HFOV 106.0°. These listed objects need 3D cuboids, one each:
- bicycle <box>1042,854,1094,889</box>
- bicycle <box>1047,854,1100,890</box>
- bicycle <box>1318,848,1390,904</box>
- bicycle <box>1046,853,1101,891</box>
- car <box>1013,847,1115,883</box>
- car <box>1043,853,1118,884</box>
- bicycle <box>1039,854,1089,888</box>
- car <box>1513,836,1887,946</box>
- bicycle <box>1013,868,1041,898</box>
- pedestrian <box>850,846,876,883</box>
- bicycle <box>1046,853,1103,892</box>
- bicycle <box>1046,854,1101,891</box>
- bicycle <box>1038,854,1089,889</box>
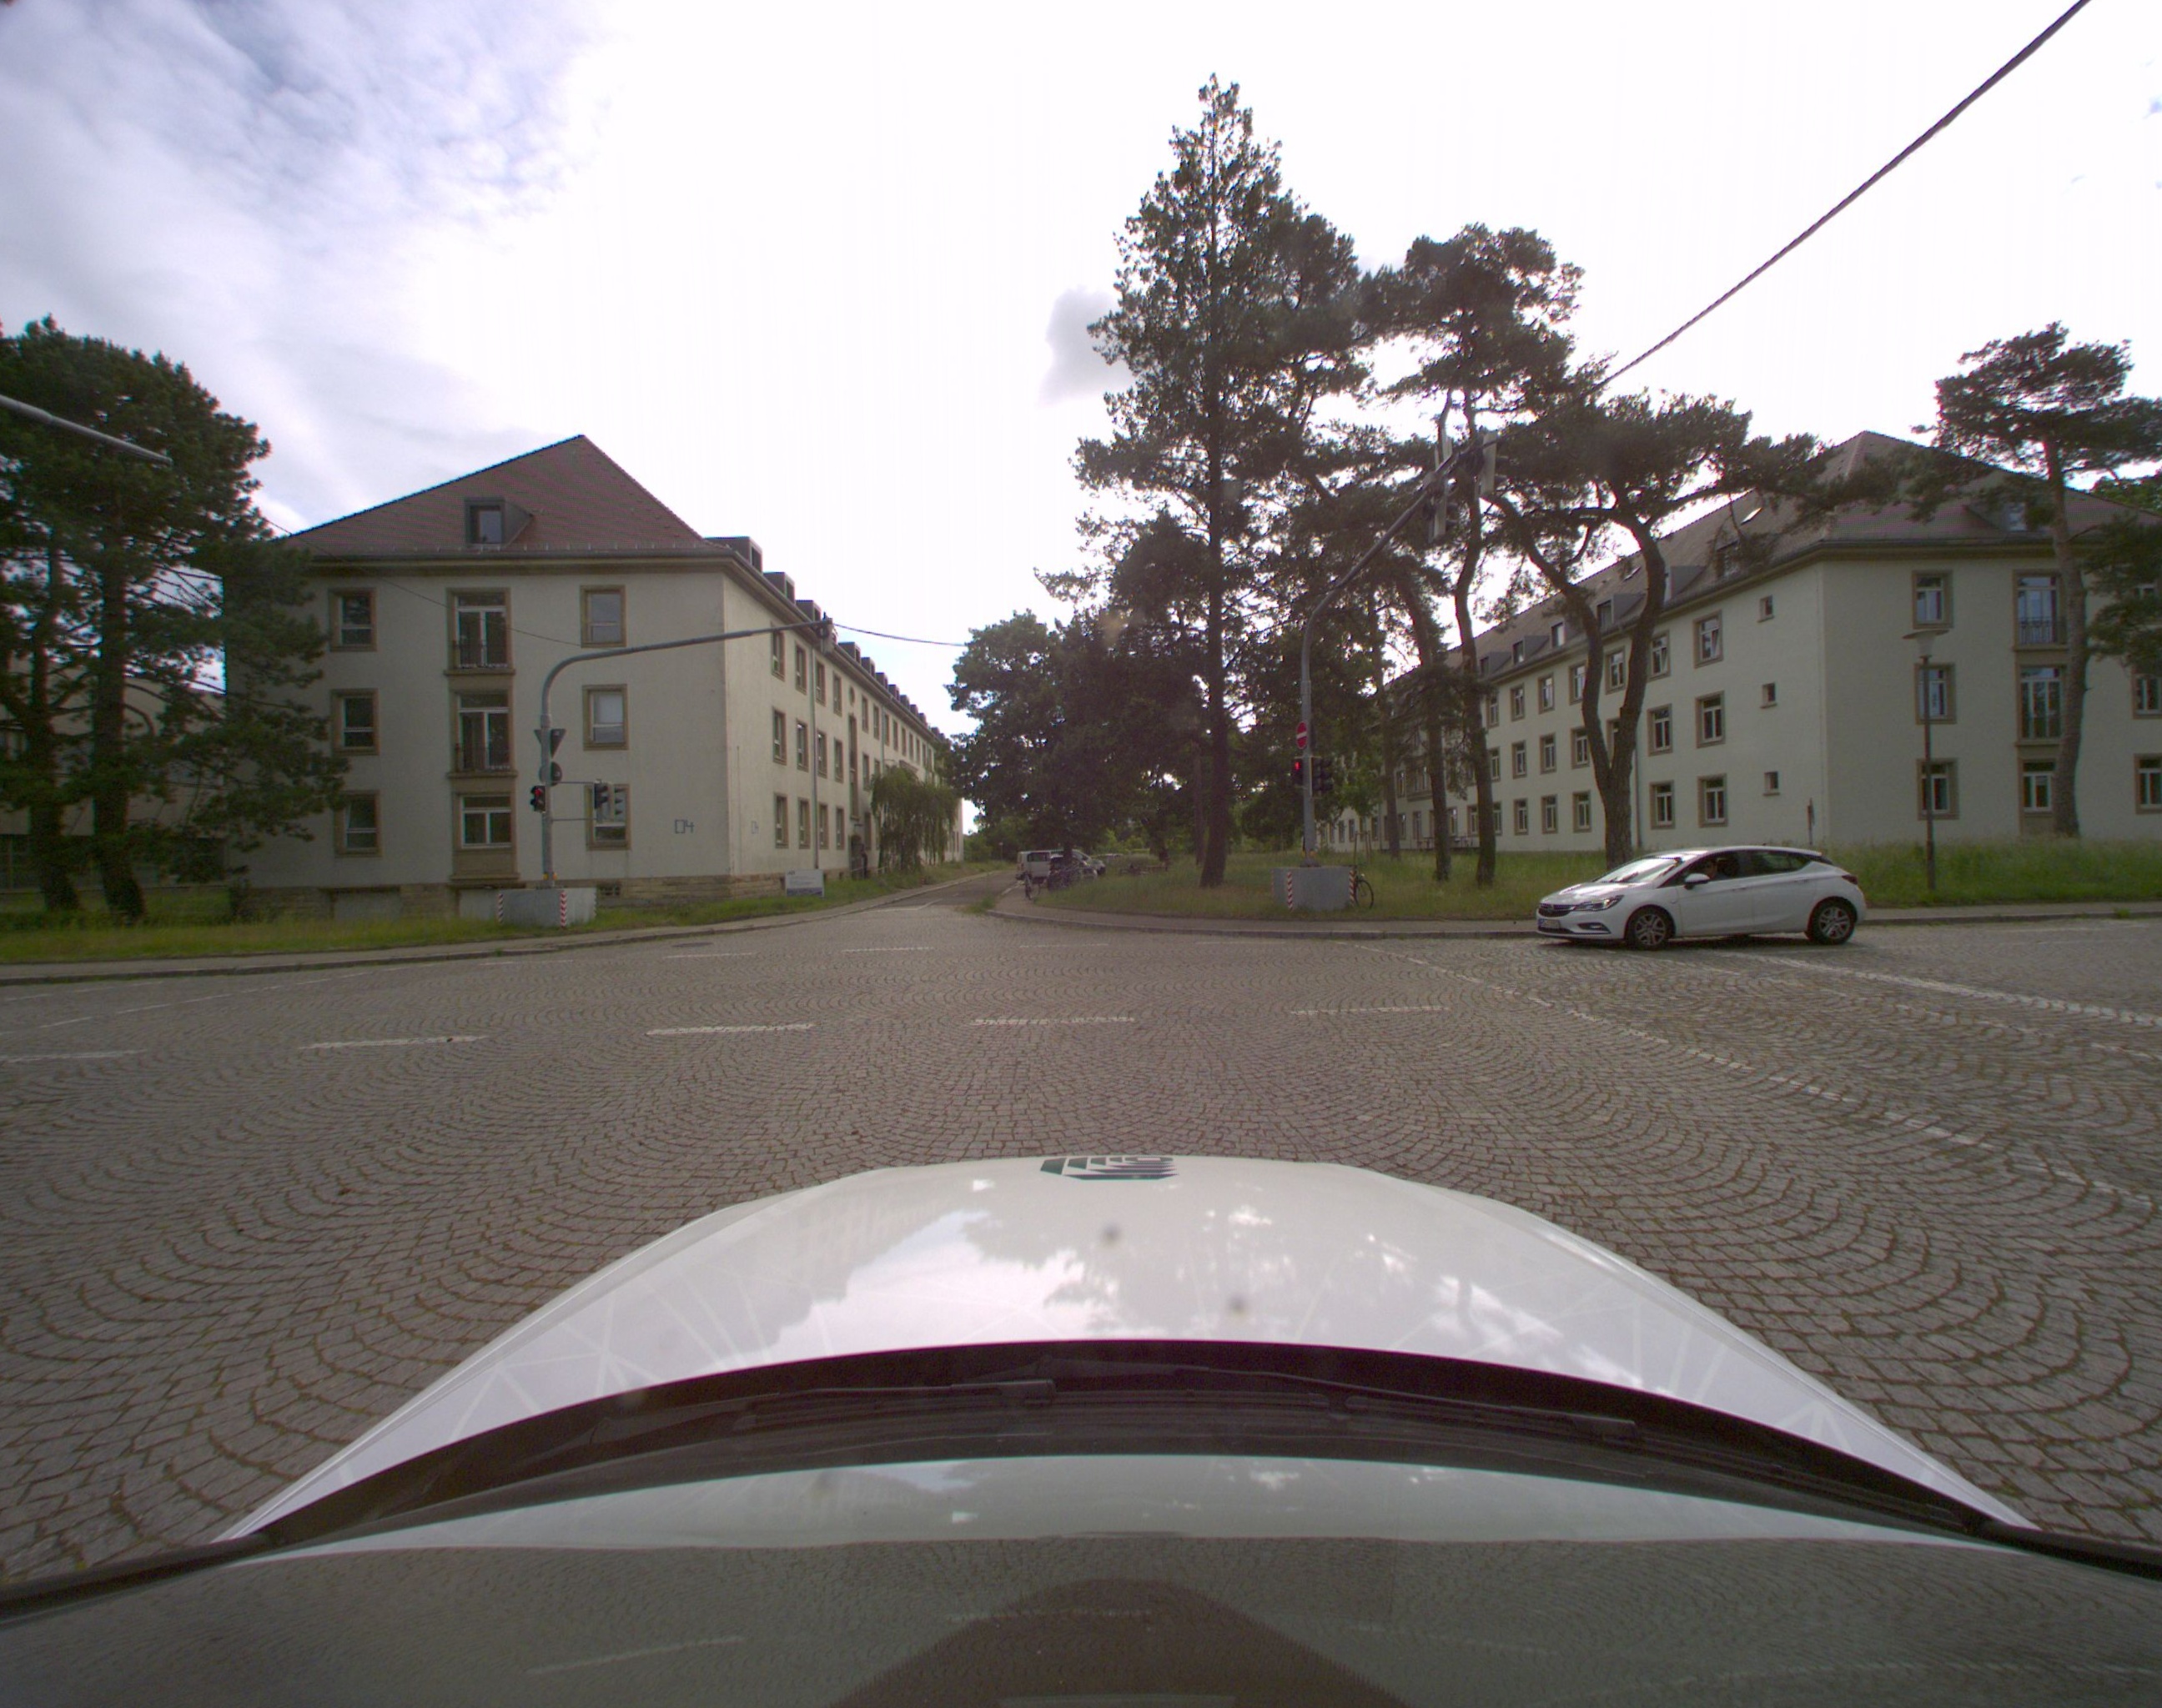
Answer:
[{"bbox_3d":[-0.543,0.708,33.221,2.063,1.378,0.620,-2,0,-1],"label":"bicycle"},{"bbox_3d":[-0.302,0.705,32.429,2.063,1.378,0.620,-2,0,-1],"label":"bicycle"},{"bbox_3d":[6.067,0.471,18.243,0.906,1.177,1.873,-2,0,-2],"label":"bicycle"},{"bbox_3d":[-0.280,0.694,31.008,2.063,1.378,0.620,-2,0,-1],"label":"bicycle"},{"bbox_3d":[-1.020,0.643,48.206,5.699,1.910,2.220,-2,0,-14],"label":"car"},{"bbox_3d":[-0.063,0.763,44.862,3.927,1.544,1.996,-2,0,-6],"label":"car"},{"bbox_3d":[-0.707,0.720,34.701,2.063,1.378,0.620,-2,0,-1],"label":"bicycle"},{"bbox_3d":[9.144,0.528,12.297,4.232,1.416,1.886,-2,-1,-2],"label":"car"},{"bbox_3d":[-1.874,1.006,28.496,0.615,0.963,2.080,-2,0,6],"label":"bicycle"},{"bbox_3d":[-12.148,0.597,45.427,1.082,2.013,1.023,-2,0,4],"label":"pedestrian"},{"bbox_3d":[-0.224,0.689,30.339,2.063,1.378,0.620,-2,0,-1],"label":"bicycle"},{"bbox_3d":[-0.295,0.699,31.633,2.063,1.378,0.620,-2,0,-1],"label":"bicycle"},{"bbox_3d":[-0.707,0.714,33.954,2.063,1.378,0.620,-2,0,-1],"label":"bicycle"}]
